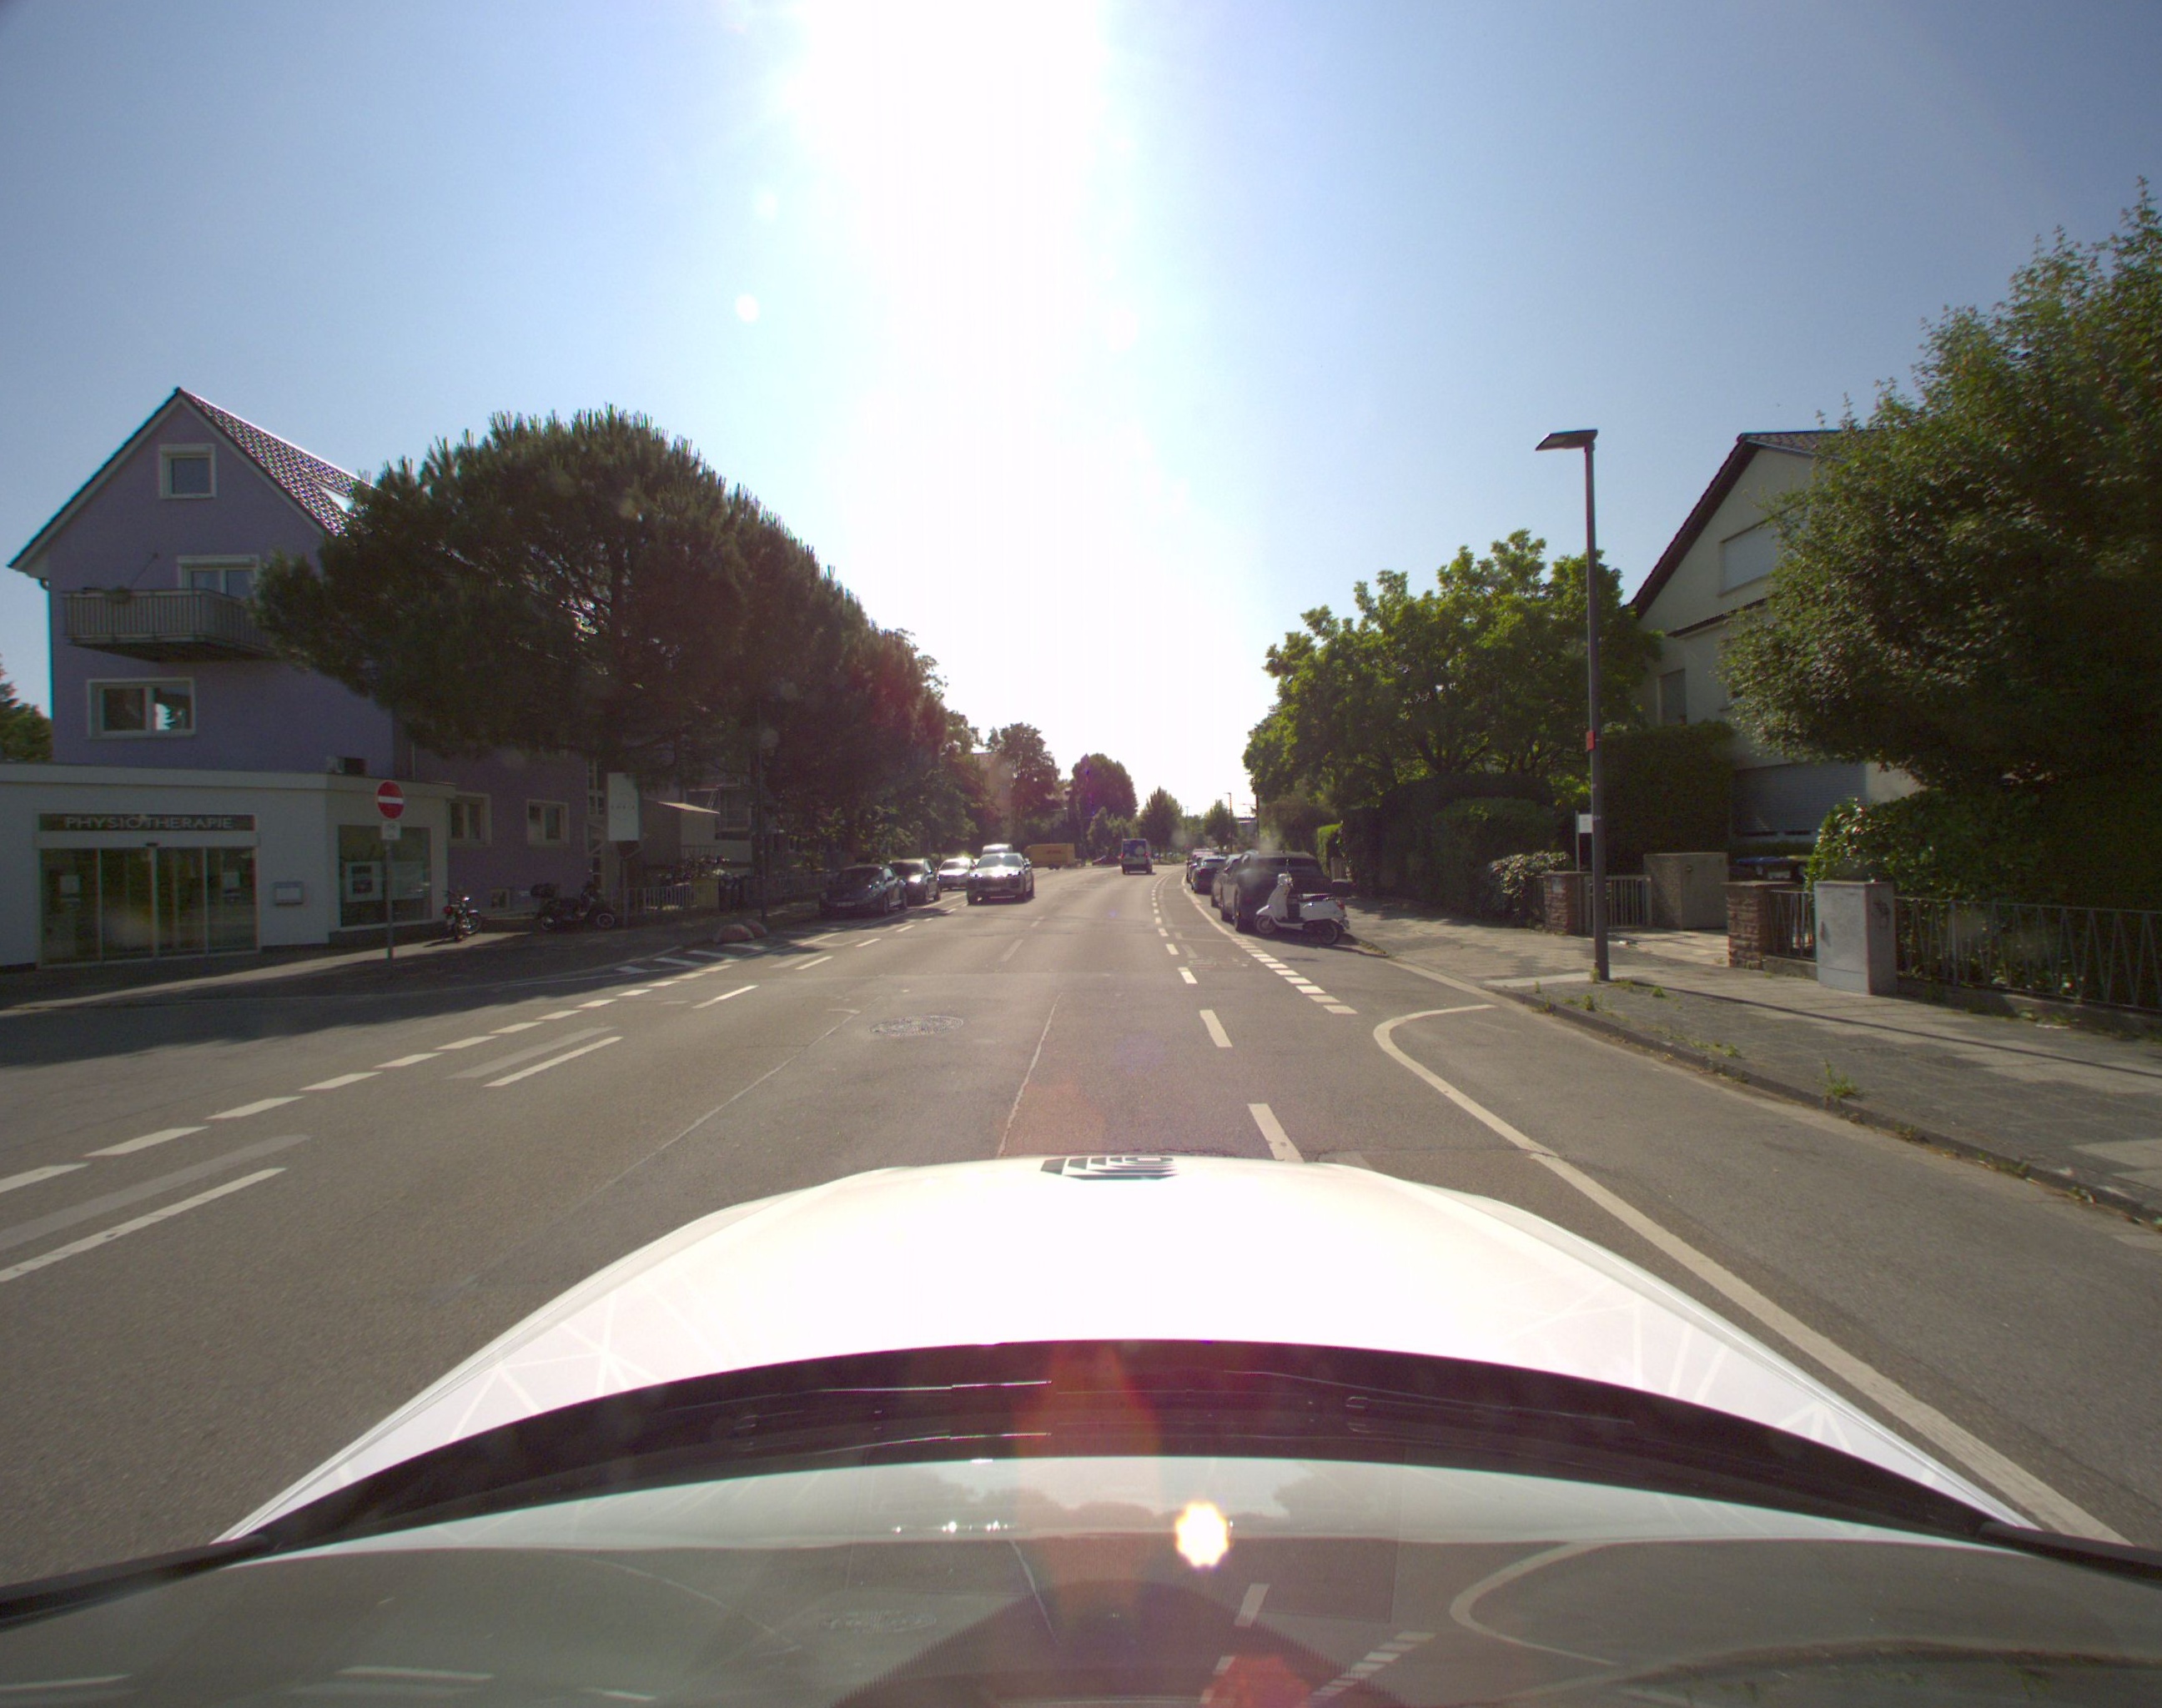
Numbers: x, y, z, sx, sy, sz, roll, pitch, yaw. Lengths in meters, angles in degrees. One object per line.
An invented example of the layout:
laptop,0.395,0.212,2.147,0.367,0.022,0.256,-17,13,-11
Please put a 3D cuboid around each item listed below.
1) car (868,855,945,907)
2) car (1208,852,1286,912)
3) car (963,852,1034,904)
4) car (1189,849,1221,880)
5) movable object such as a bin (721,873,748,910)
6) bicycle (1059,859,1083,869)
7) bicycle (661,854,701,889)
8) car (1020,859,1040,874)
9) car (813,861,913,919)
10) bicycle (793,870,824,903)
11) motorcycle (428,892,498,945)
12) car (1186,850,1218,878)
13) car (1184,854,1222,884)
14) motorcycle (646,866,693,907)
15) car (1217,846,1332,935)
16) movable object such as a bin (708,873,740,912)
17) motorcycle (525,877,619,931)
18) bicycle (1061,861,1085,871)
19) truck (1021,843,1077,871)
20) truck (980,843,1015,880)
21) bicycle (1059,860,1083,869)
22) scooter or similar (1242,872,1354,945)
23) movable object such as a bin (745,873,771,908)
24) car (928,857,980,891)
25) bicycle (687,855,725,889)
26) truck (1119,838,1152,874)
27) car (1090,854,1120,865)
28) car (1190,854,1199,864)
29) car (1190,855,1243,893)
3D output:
car,-6.234,0.903,29.629,1.903,1.677,4.256,-2,0,-1
car,4.601,0.727,23.041,1.701,1.514,3.907,0,0,5
car,-2.850,0.784,29.141,1.987,1.657,4.605,-2,0,1
car,7.080,0.571,46.494,1.691,1.677,3.784,-2,0,8
movable object such as a bin,-10.675,1.145,25.123,0.602,1.111,0.432,-2,-1,6
bicycle,-1.137,1.189,95.629,2.686,1.047,1.023,-2,0,-8
bicycle,-14.410,0.615,29.362,0.534,1.181,1.449,-2,2,6
car,-4.973,1.178,79.940,1.749,1.343,3.653,-2,0,-1
car,-6.300,0.989,24.011,1.775,1.460,4.085,-2,0,0
bicycle,-10.247,1.208,30.651,0.371,1.146,1.979,-2,0,3
motorcycle,-13.848,1.405,18.305,0.643,0.990,2.338,-2,0,-22
car,7.660,0.599,51.738,1.693,1.677,3.779,-2,0,4
car,6.147,0.726,41.356,1.775,1.399,4.131,0,0,7
motorcycle,-12.419,0.972,24.618,0.534,1.182,1.449,-2,0,6
car,3.974,0.668,17.382,1.776,1.638,4.477,0,0,5
movable object such as a bin,-10.748,1.154,24.551,0.602,1.111,0.664,-2,-1,6
motorcycle,-11.953,1.163,19.154,1.830,1.182,0.644,-2,-1,5
bicycle,-0.941,1.383,94.507,2.662,1.026,1.023,-2,0,-8
truck,-3.556,0.358,90.522,5.617,2.946,2.233,-2,-1,22
truck,-5.982,0.505,58.875,2.075,2.537,5.463,-2,0,-2
bicycle,-1.159,1.223,96.736,2.686,1.047,1.023,-2,0,-8
scooter or similar,3.852,0.931,14.547,0.724,1.154,1.775,2,0,-45
movable object such as a bin,-10.511,1.189,26.507,0.541,1.111,0.586,-2,-1,6
car,-6.255,0.960,40.550,1.828,1.595,3.777,-2,-1,2
bicycle,-13.559,0.643,29.470,0.534,1.182,1.449,-2,0,6
truck,4.187,0.151,61.902,2.260,2.571,4.400,-2,0,6
car,3.396,0.745,114.548,3.985,1.490,1.624,-2,0,-8
car,25.239,1.078,180.835,1.899,2.013,4.007,-2,0,6
car,5.327,0.760,32.445,1.776,1.399,4.331,0,0,6
